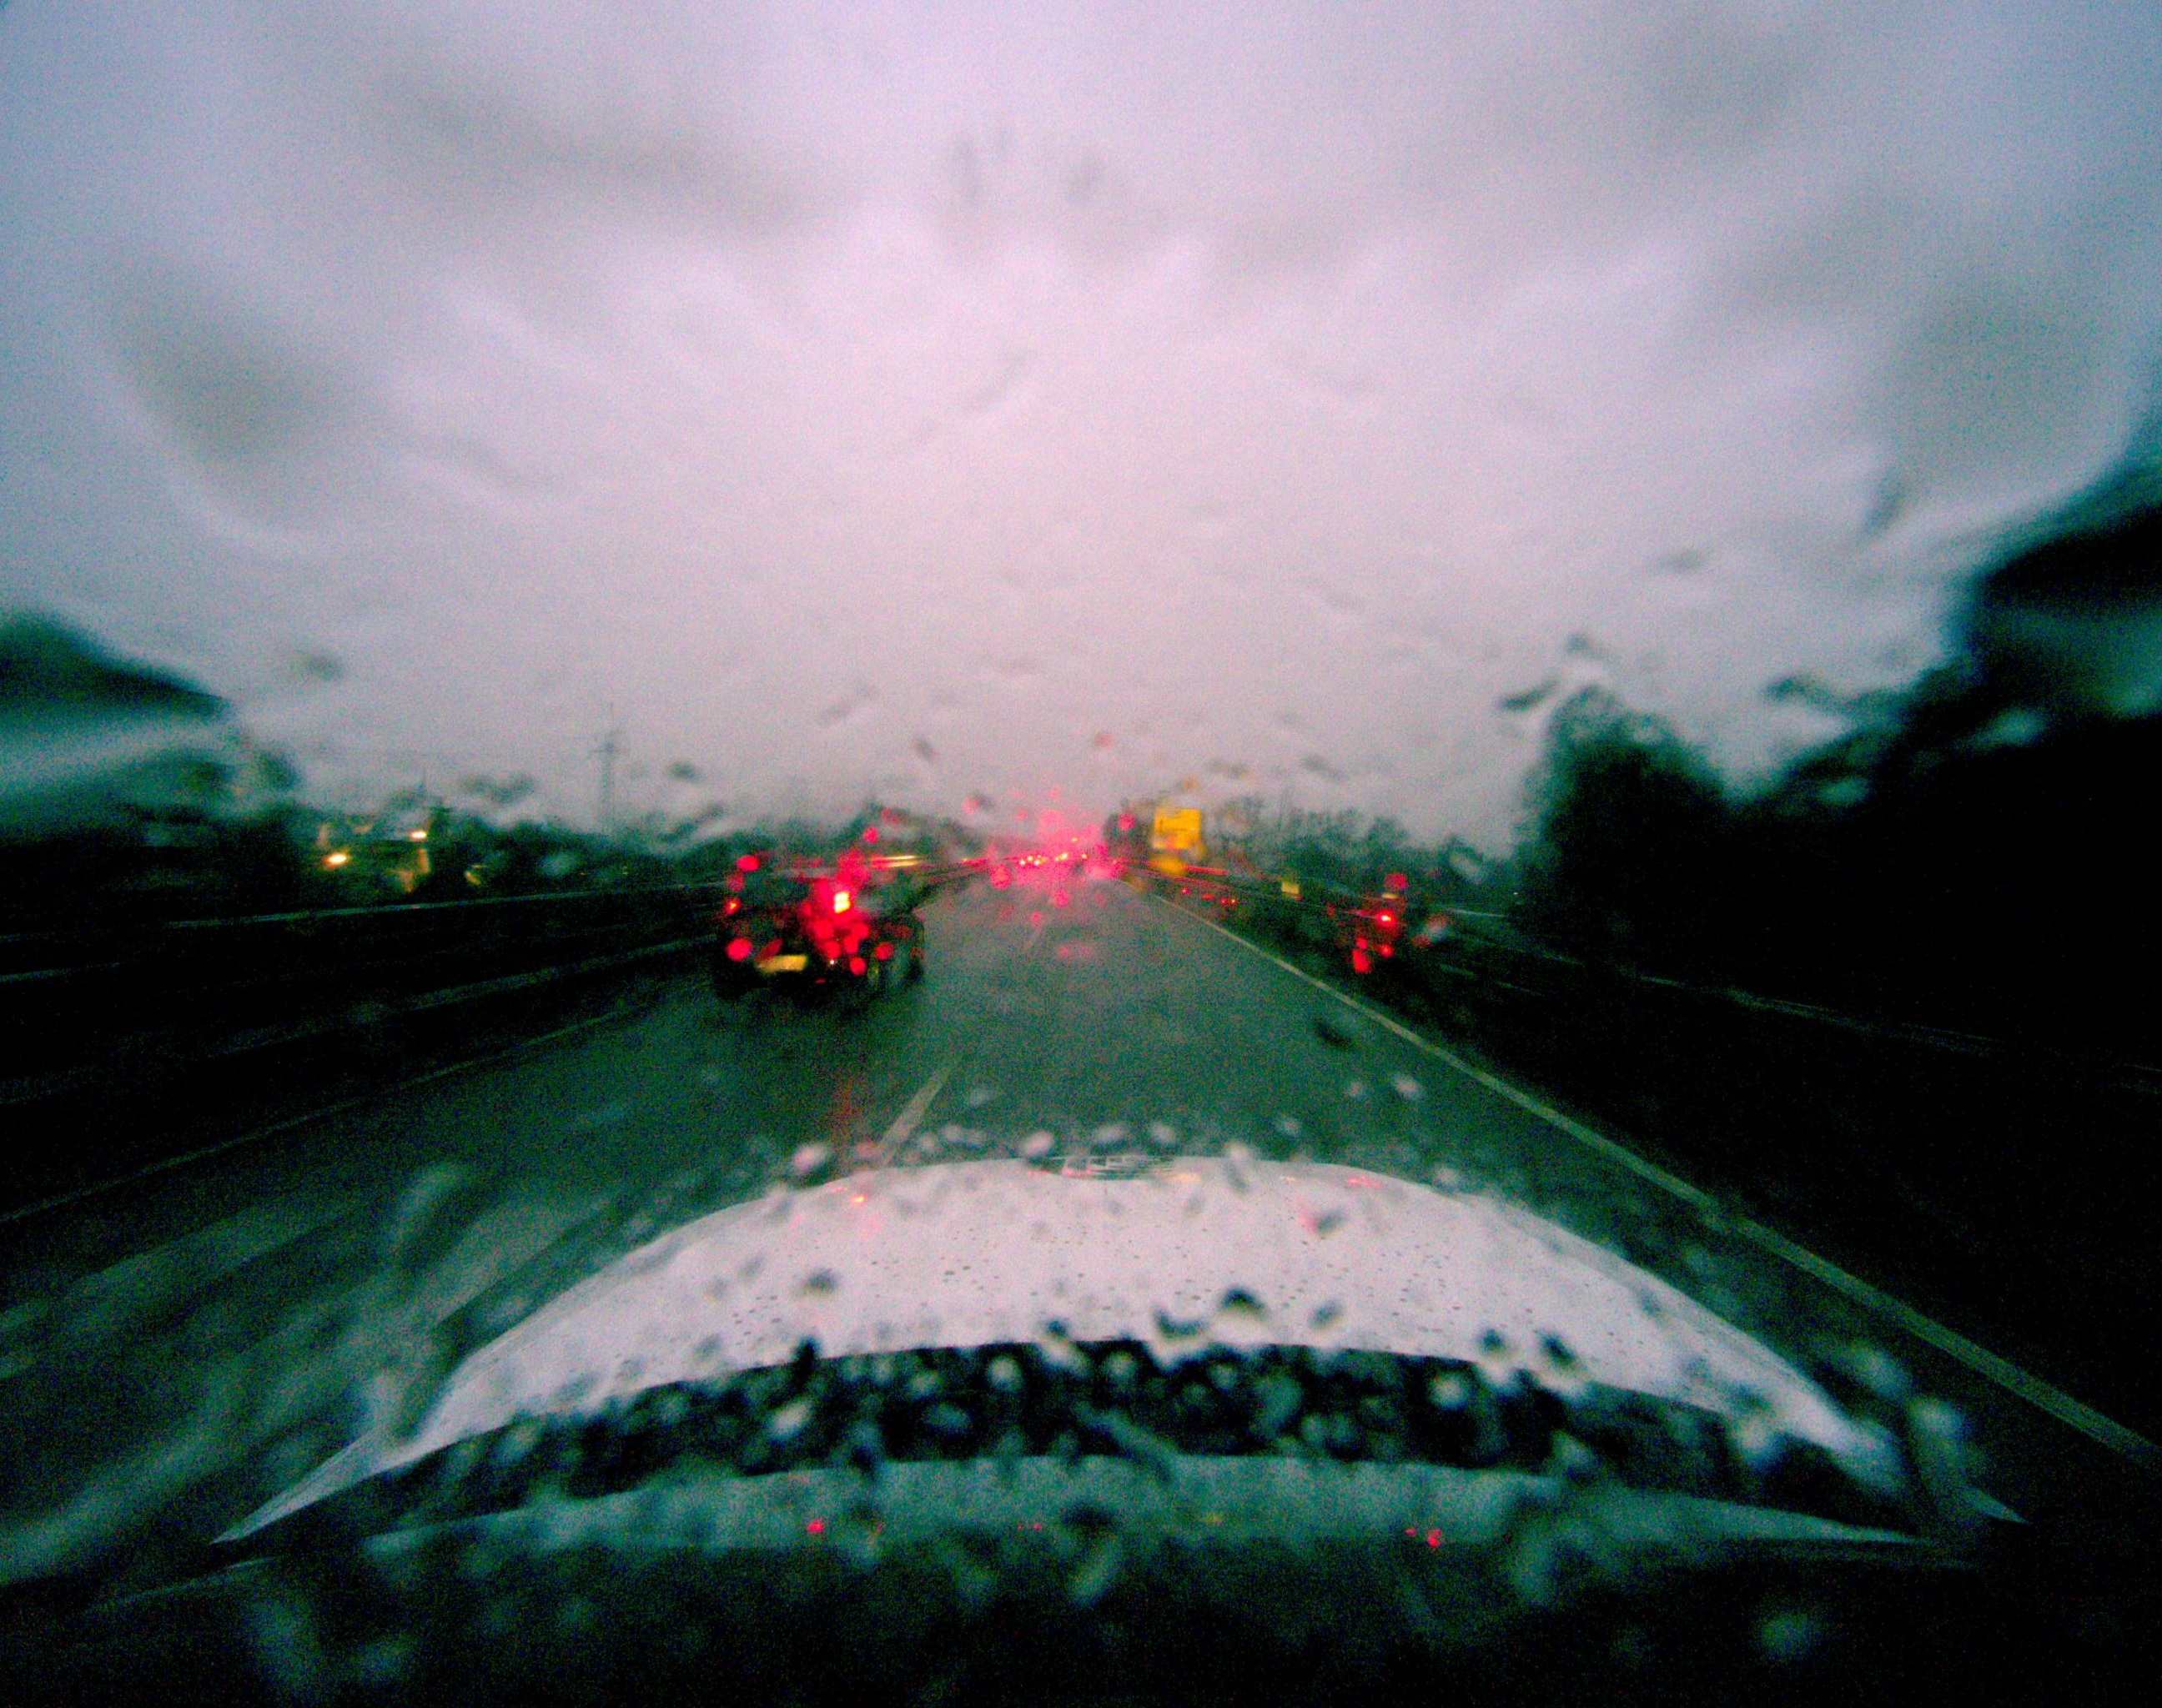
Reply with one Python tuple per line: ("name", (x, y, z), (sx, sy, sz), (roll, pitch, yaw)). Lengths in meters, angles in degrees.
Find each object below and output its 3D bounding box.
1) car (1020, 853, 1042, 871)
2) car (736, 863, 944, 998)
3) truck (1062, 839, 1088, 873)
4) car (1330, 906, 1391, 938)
("car", (-4.444, 0.722, 73.075), (1.830, 1.538, 3.996), (1, -2, -2))
("car", (-2.912, 0.837, 10.707), (1.621, 1.392, 3.997), (-1, -1, -2))
("truck", (-0.609, 0.229, 75.865), (2.376, 2.909, 4.669), (0, -4, -2))
("car", (14.864, 3.604, 43.515), (1.671, 1.282, 3.997), (6, -2, -2))
